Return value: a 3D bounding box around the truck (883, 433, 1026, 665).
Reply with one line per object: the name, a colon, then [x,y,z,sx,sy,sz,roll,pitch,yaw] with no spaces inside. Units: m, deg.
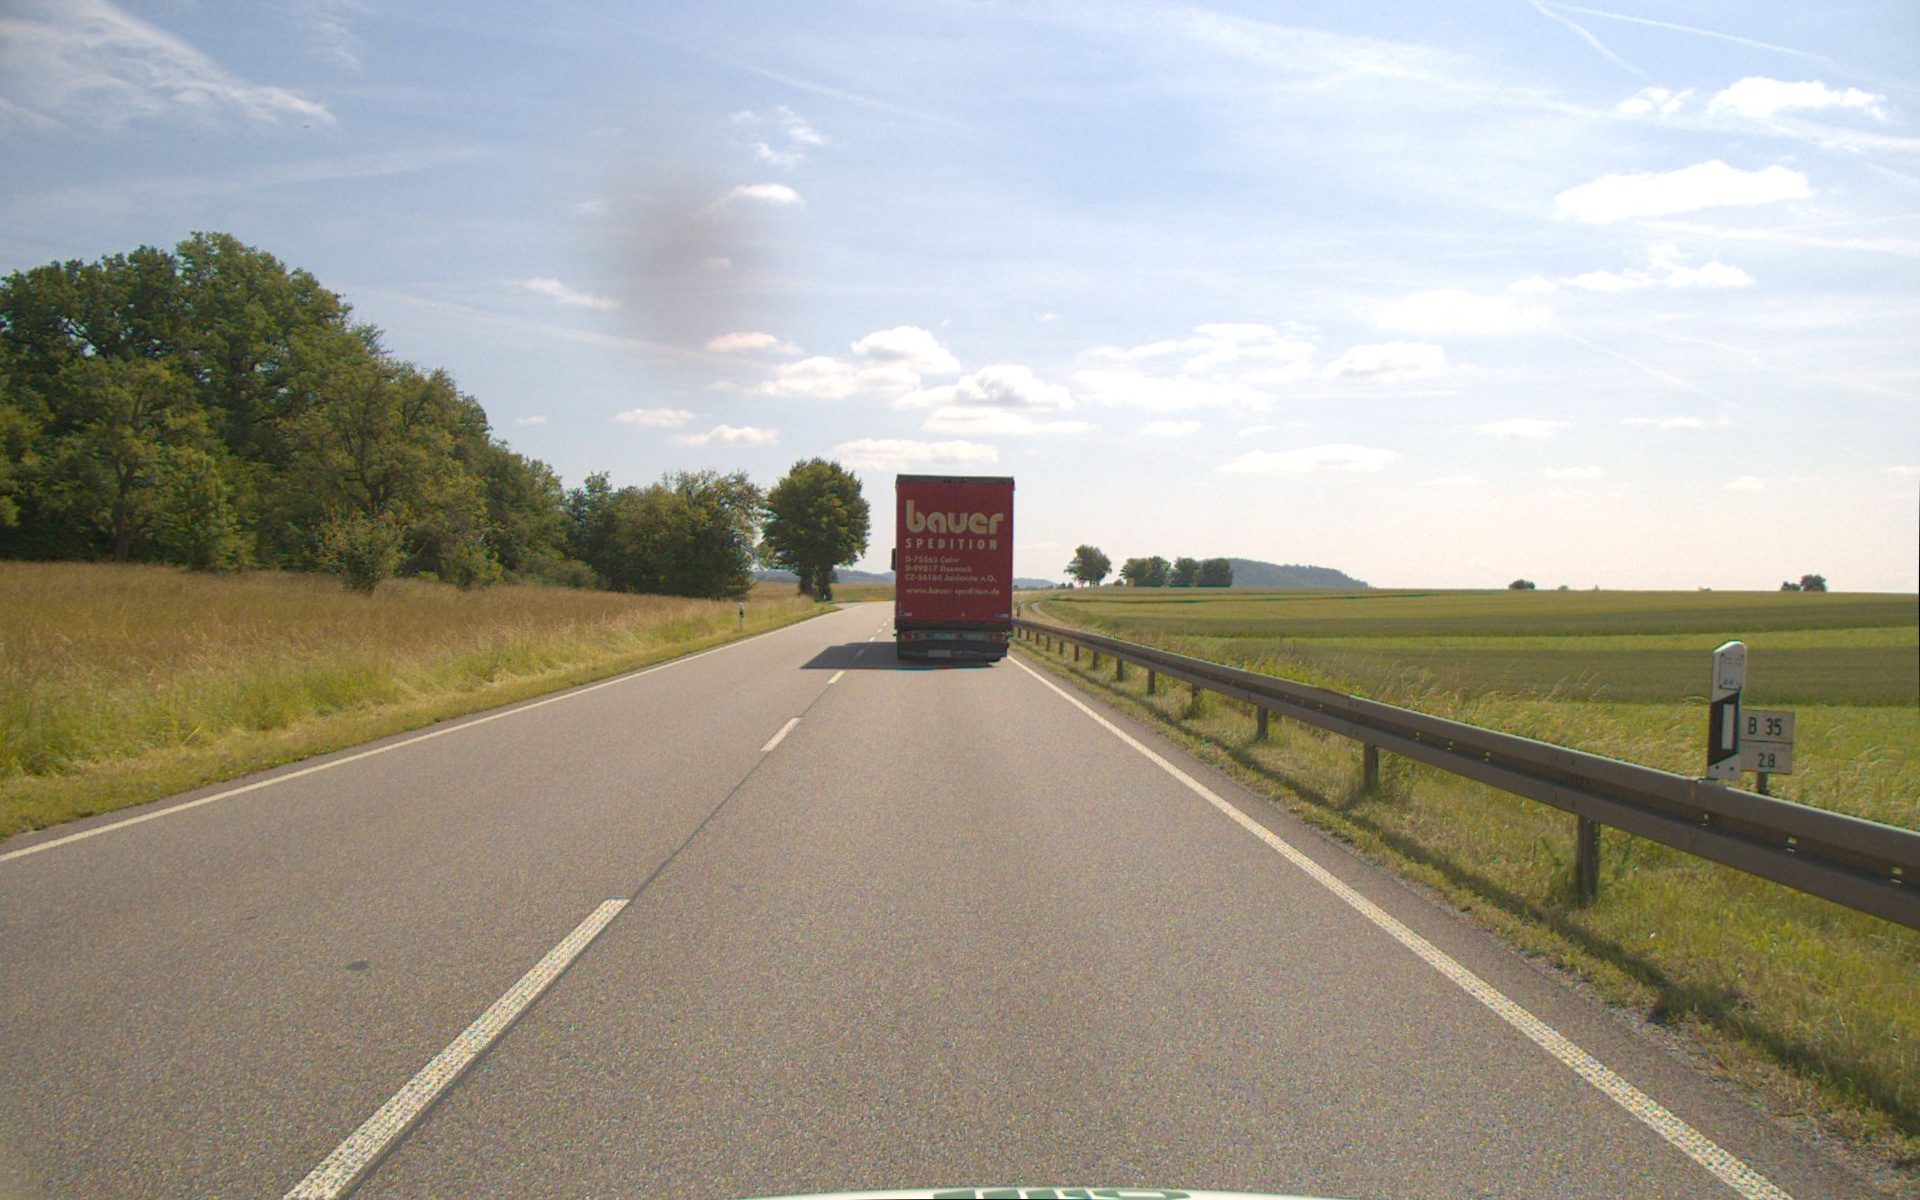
truck: [-0.236,-1.023,39.278,2.915,4.796,9.362,1,-1,-2]
